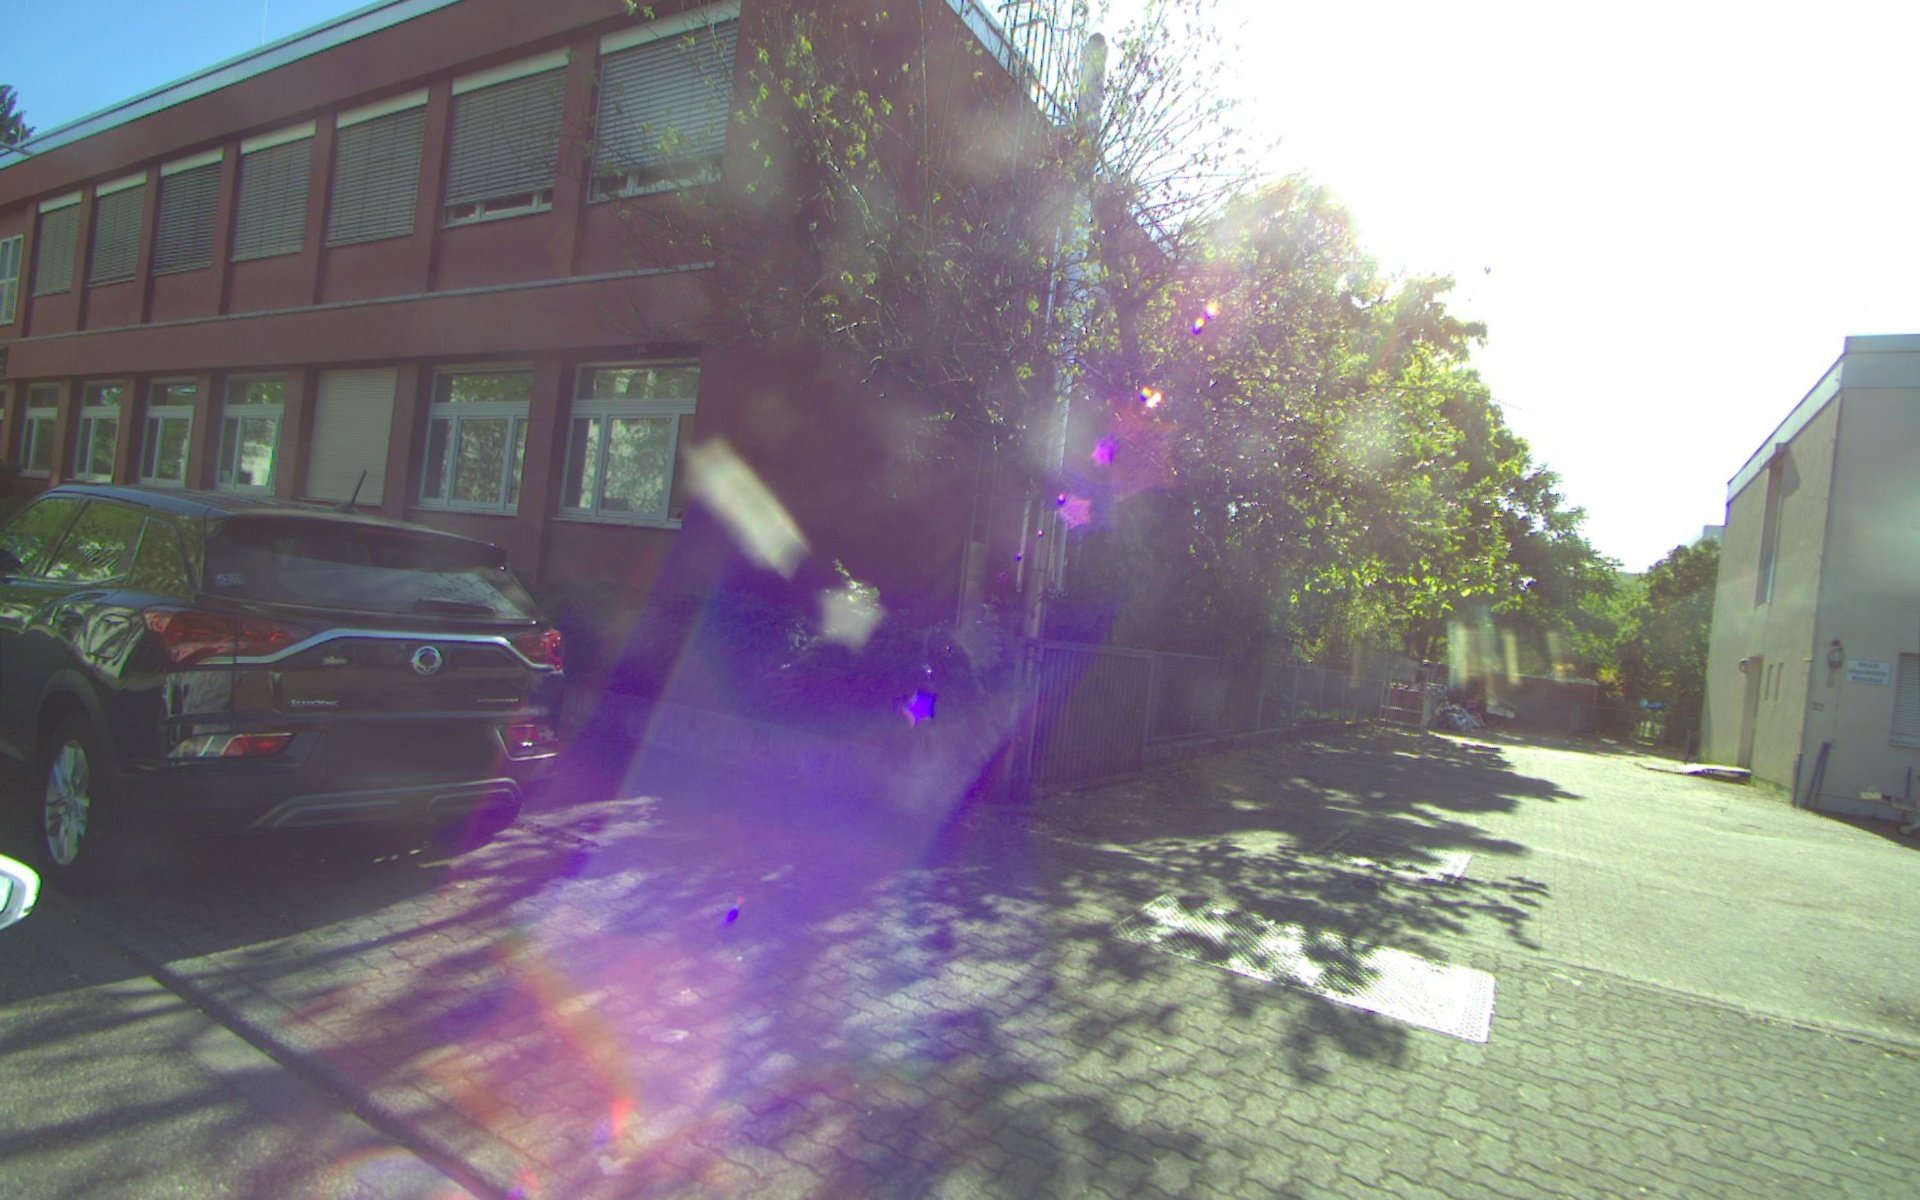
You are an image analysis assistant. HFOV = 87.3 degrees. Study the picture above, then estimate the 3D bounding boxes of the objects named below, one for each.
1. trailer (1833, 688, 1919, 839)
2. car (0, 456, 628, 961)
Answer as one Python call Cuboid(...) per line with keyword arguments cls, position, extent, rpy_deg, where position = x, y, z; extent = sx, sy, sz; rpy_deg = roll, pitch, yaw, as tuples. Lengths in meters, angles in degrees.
Cuboid(cls="trailer", position=(15.803, 2.602, 14.306), extent=(4.690, 2.091, 1.997), rpy_deg=(5, -1, 32))
Cuboid(cls="car", position=(-3.933, 0.261, 5.237), extent=(4.132, 1.653, 1.841), rpy_deg=(7, -1, 32))
